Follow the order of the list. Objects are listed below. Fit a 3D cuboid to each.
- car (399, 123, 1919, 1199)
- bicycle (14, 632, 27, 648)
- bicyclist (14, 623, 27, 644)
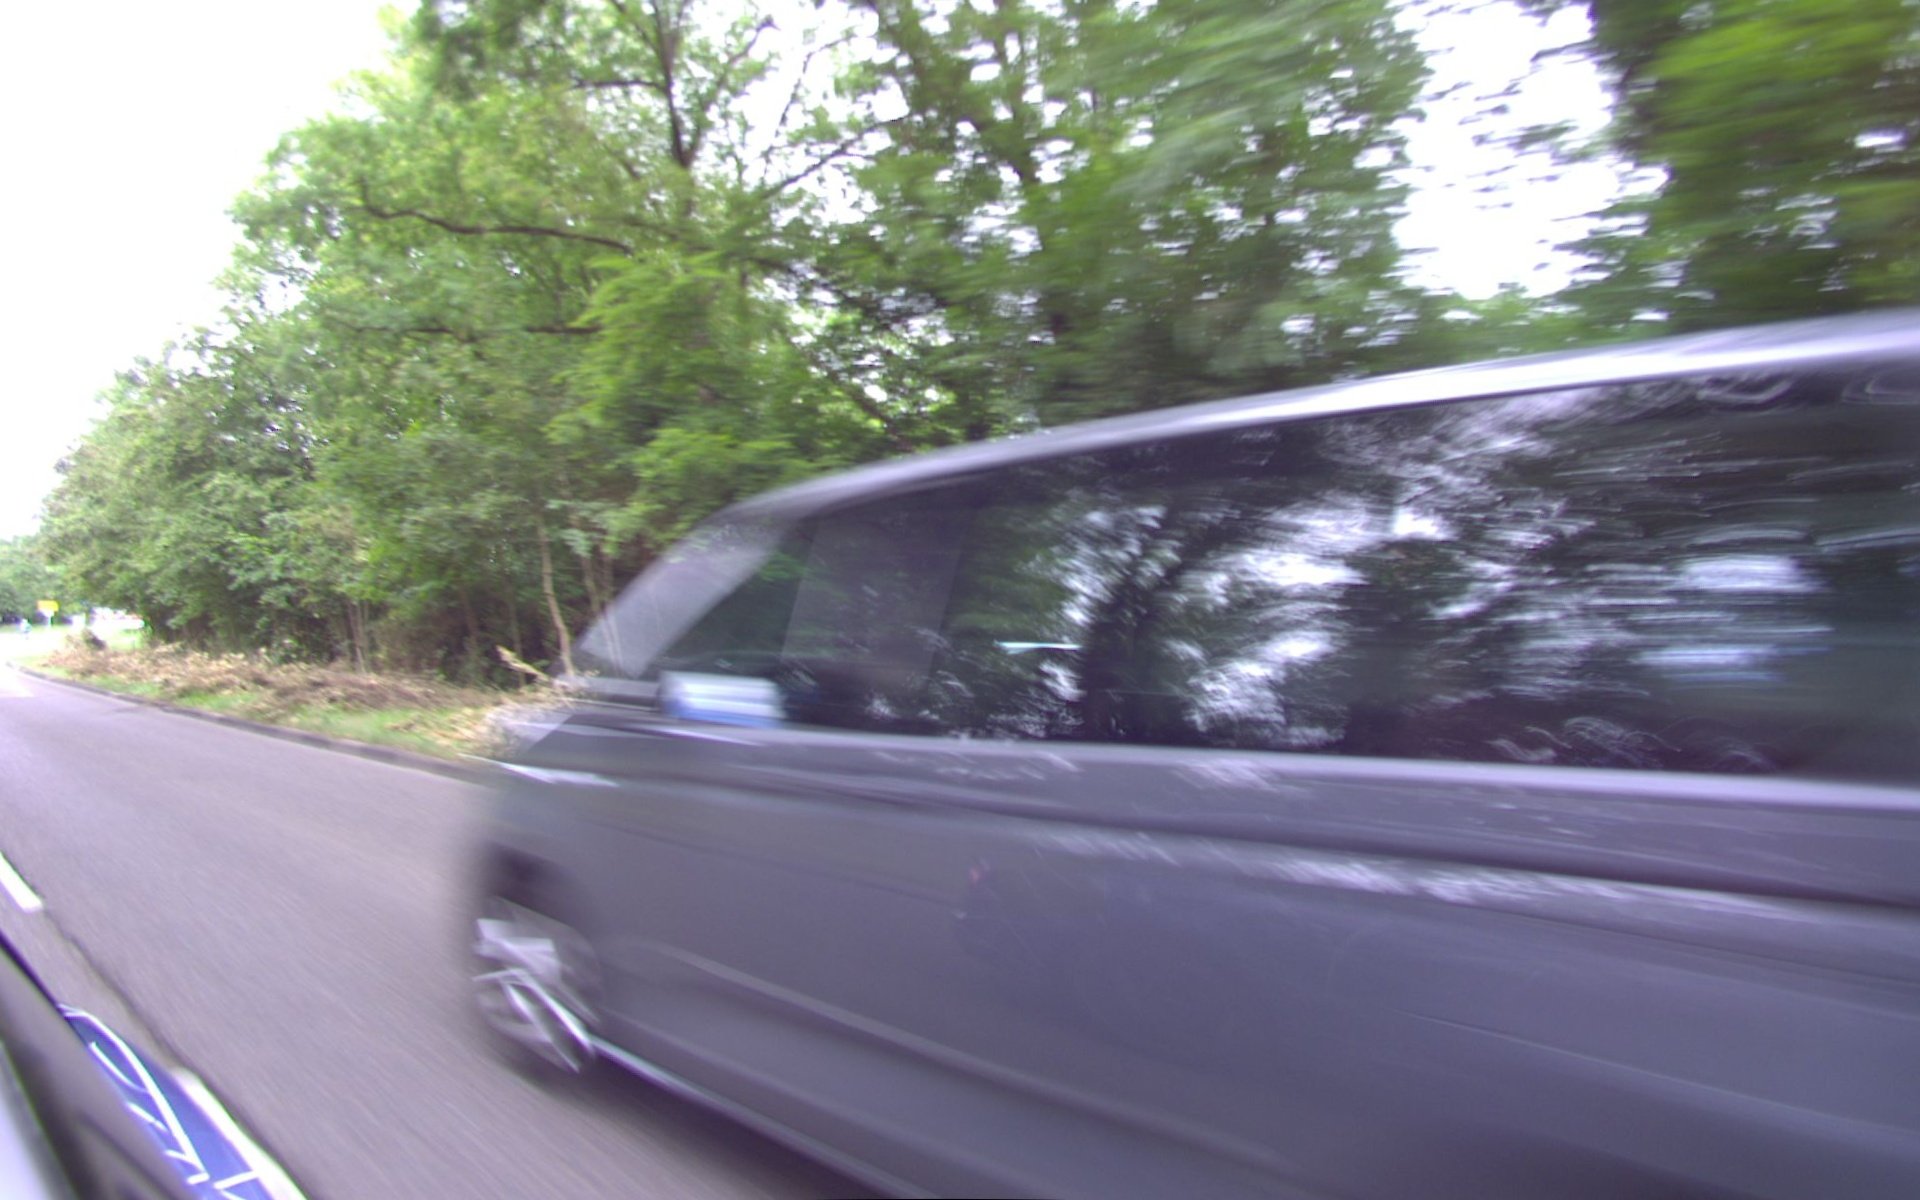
[{"bbox_3d":[0.540,0.516,2.678,4.943,1.962,1.973,-1,0,41],"label":"car"},{"bbox_3d":[-69.541,2.958,74.895,0.657,1.082,2.149,-1,-1,-41],"label":"bicycle"},{"bbox_3d":[-69.553,2.456,74.900,0.657,1.531,1.272,-1,-1,-42],"label":"bicyclist"}]
